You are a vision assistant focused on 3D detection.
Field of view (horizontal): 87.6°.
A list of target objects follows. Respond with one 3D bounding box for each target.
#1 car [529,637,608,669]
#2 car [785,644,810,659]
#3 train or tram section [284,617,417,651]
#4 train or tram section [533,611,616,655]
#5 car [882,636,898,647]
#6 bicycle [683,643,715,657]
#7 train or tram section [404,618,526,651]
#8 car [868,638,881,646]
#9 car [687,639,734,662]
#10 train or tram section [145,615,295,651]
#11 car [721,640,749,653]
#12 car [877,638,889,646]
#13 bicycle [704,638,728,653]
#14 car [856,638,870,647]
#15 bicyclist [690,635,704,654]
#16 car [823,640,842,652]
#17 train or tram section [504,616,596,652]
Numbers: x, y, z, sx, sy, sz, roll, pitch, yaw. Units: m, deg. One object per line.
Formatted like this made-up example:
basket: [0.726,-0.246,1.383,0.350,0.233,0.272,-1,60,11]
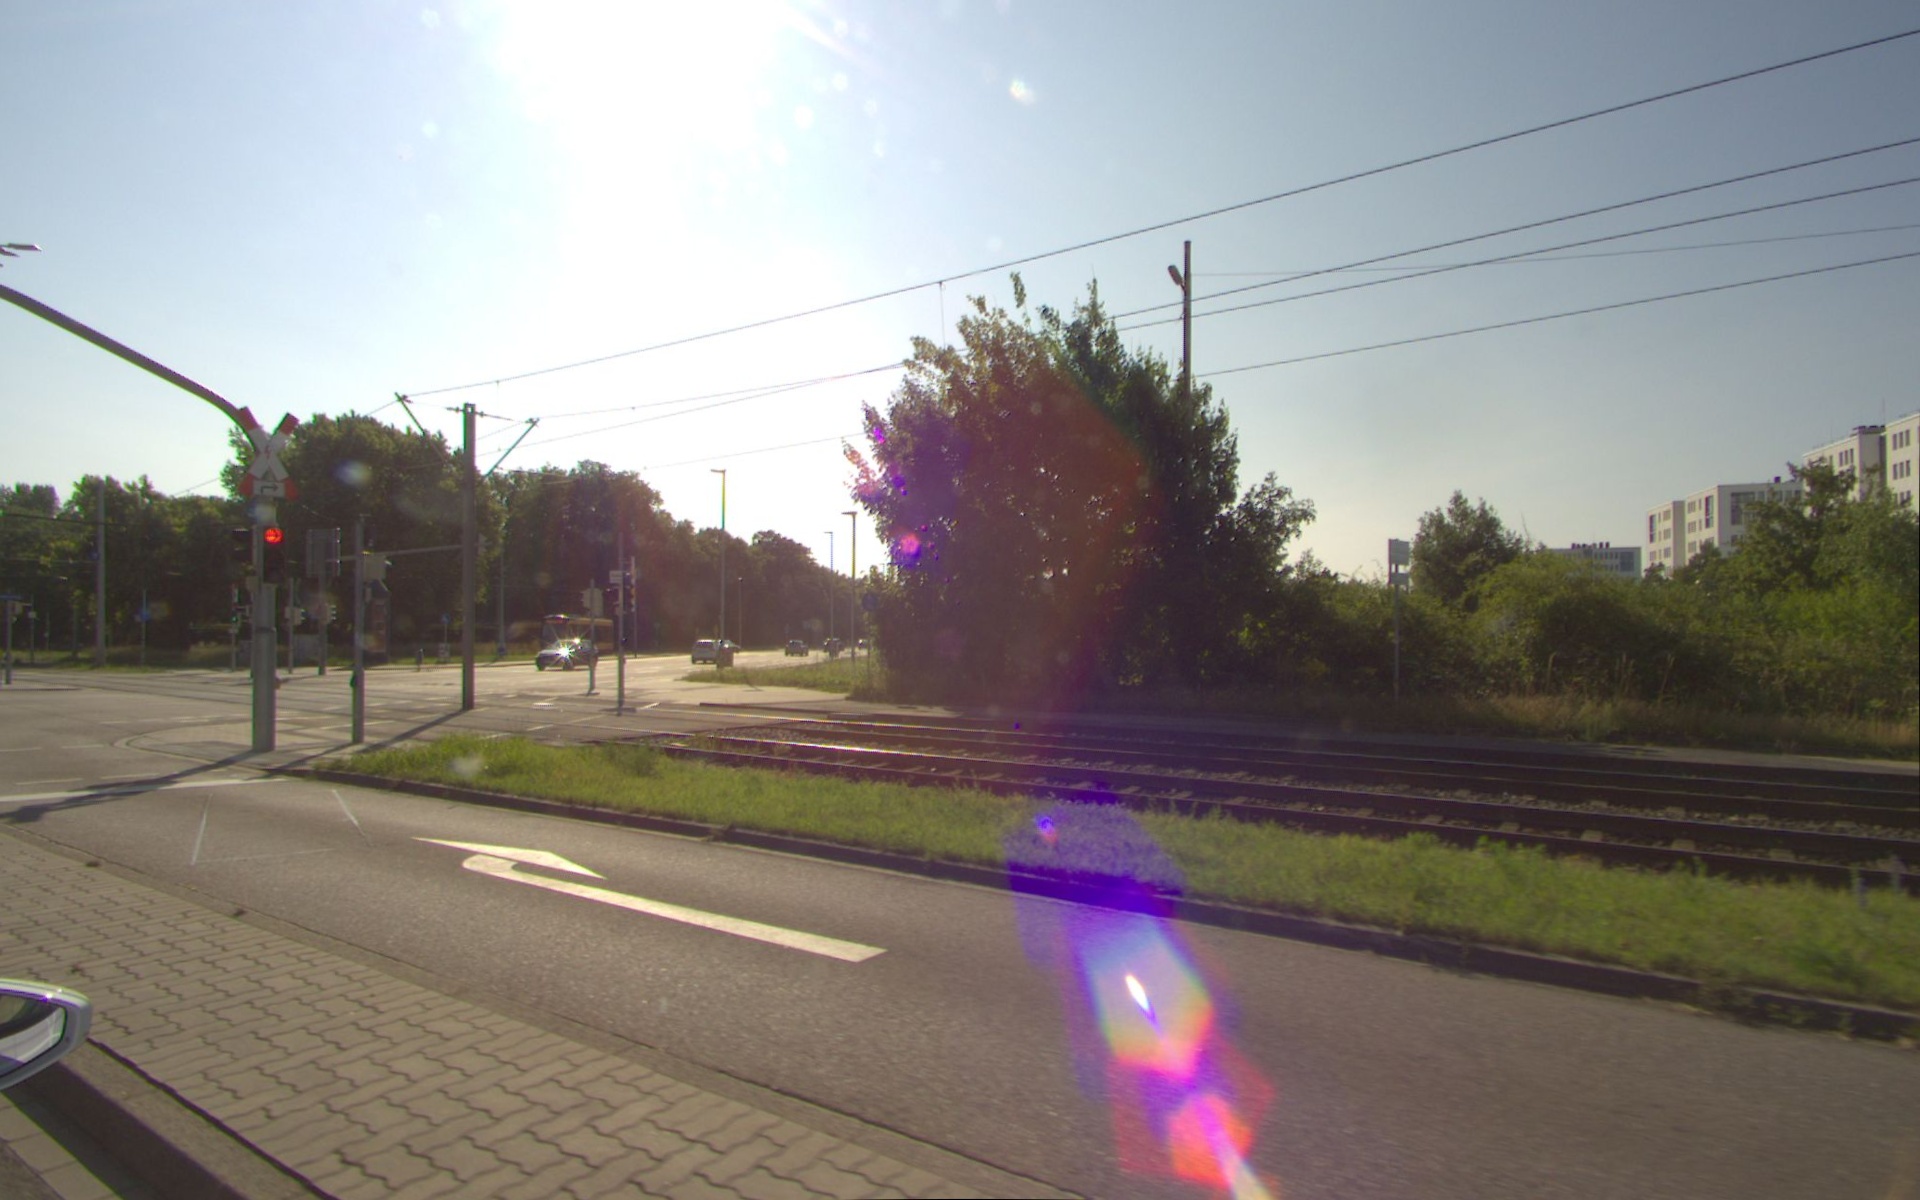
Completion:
car: [-21.015,2.826,53.967,2.005,1.583,4.863,0,-1,5]
car: [-15.696,4.937,96.825,1.575,1.401,3.532,0,-2,4]
train or tram section: [-66.874,3.750,110.257,12.026,3.625,3.047,1,-2,-21]
train or tram section: [-33.368,2.907,87.259,2.994,3.624,11.858,0,-2,-2]
car: [-13.540,8.044,194.165,2.397,2.104,4.790,0,-2,4]
bicycle: [-28.237,5.400,108.425,3.168,1.472,1.131,0,-3,11]
train or tram section: [-55.142,3.847,111.712,11.992,3.625,3.055,0,-2,0]
car: [-14.065,6.935,165.122,1.575,1.401,3.531,0,-2,4]
car: [-17.250,3.482,69.359,1.820,1.582,4.206,0,-2,5]
train or tram section: [-77.694,3.512,105.579,12.248,3.625,3.043,1,-2,-26]
car: [-24.469,5.008,108.919,1.715,1.351,4.309,0,-2,5]
car: [-13.496,7.320,175.871,1.575,1.401,3.531,0,-2,4]
bicycle: [-28.119,5.217,115.431,2.562,1.734,0.795,1,-2,-2]
car: [-14.270,6.261,147.462,1.575,1.401,3.531,0,-2,4]
bicyclist: [-28.451,4.809,108.486,1.078,2.038,1.140,0,-2,10]
car: [-14.698,5.302,115.627,1.575,1.401,3.531,0,-2,4]
train or tram section: [-44.244,3.668,107.800,12.064,3.625,3.037,-1,-2,34]
